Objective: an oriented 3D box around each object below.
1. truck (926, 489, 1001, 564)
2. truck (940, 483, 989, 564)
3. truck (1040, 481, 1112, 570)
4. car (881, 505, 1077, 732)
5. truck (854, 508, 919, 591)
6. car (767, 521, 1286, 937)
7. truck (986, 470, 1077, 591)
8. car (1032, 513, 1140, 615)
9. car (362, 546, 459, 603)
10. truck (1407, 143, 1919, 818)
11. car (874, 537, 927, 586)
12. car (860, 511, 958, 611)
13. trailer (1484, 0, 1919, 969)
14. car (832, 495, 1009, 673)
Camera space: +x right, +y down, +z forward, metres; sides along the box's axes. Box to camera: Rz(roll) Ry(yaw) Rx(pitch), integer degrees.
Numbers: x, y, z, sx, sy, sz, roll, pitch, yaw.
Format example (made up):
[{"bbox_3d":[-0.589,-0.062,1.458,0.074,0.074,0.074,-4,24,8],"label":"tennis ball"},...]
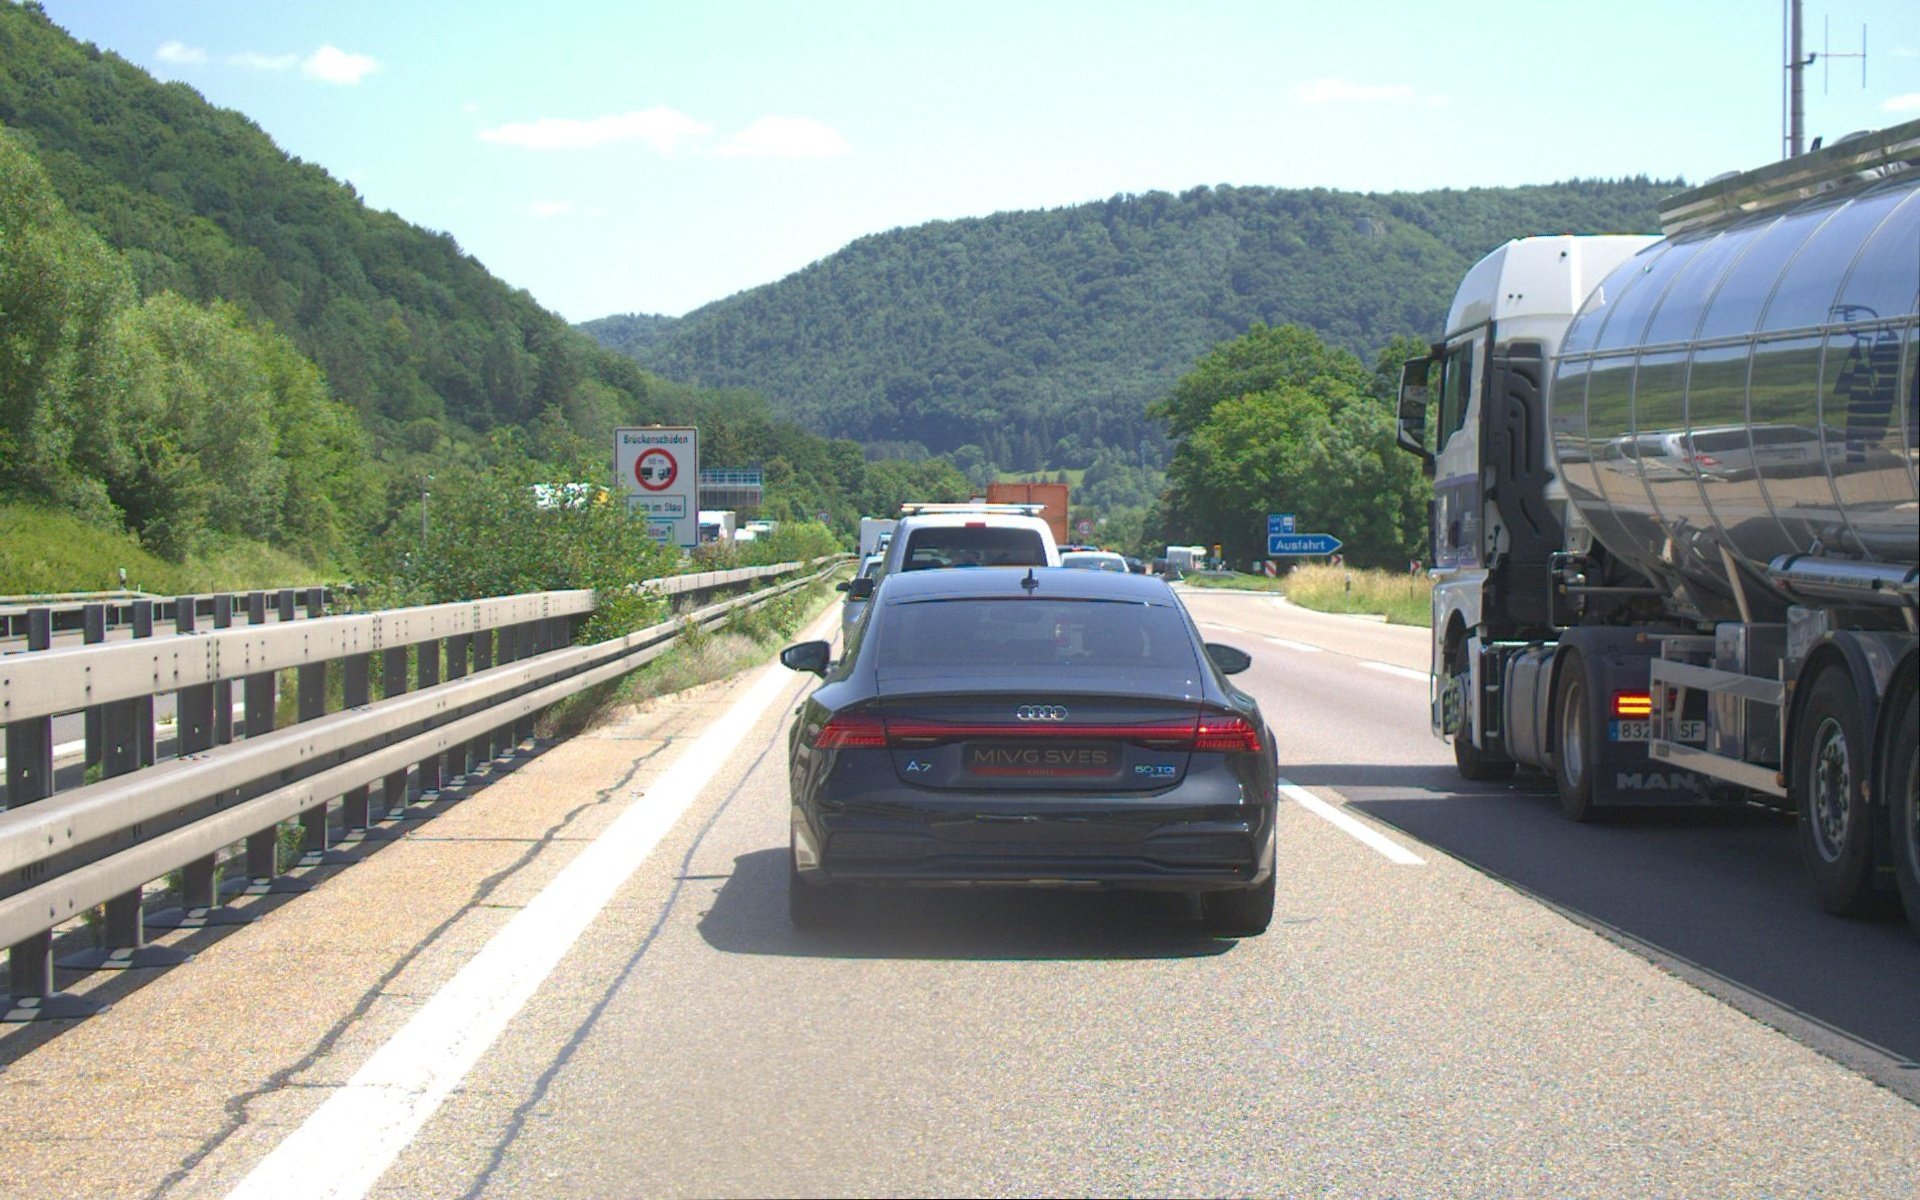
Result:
[{"bbox_3d":[0.301,-4.462,209.281,3.794,4.399,14.954,-1,1,3],"label":"truck"},{"bbox_3d":[0.150,-3.390,152.892,1.993,3.435,11.812,0,1,-1],"label":"truck"},{"bbox_3d":[5.371,-3.464,161.403,2.817,3.989,14.956,0,1,0],"label":"truck"},{"bbox_3d":[0.117,0.115,29.887,1.575,1.827,4.000,0,1,-1],"label":"car"},{"bbox_3d":[-3.114,-2.181,147.862,2.628,3.429,11.421,-1,1,0],"label":"truck"},{"bbox_3d":[0.173,0.427,14.333,1.849,1.483,4.083,0,1,-2],"label":"car"},{"bbox_3d":[2.414,-2.419,121.301,2.817,3.989,14.956,0,1,0],"label":"truck"},{"bbox_3d":[2.539,-0.751,70.109,1.993,2.007,4.000,0,1,-1],"label":"car"},{"bbox_3d":[-14.503,-0.695,90.926,1.869,1.415,4.433,-1,1,0],"label":"car"},{"bbox_3d":[4.508,-0.706,21.762,2.511,3.745,5.246,0,1,-2],"label":"truck"},{"bbox_3d":[-1.986,-1.317,115.804,1.712,1.613,4.000,-1,1,0],"label":"car"},{"bbox_3d":[-1.096,-0.835,72.225,1.993,2.007,4.000,-1,1,-1],"label":"car"},{"bbox_3d":[4.647,-0.579,15.077,2.538,3.722,11.893,0,1,-2],"label":"trailer"},{"bbox_3d":[-0.484,-0.215,40.997,1.993,2.007,4.000,0,1,-1],"label":"car"}]
